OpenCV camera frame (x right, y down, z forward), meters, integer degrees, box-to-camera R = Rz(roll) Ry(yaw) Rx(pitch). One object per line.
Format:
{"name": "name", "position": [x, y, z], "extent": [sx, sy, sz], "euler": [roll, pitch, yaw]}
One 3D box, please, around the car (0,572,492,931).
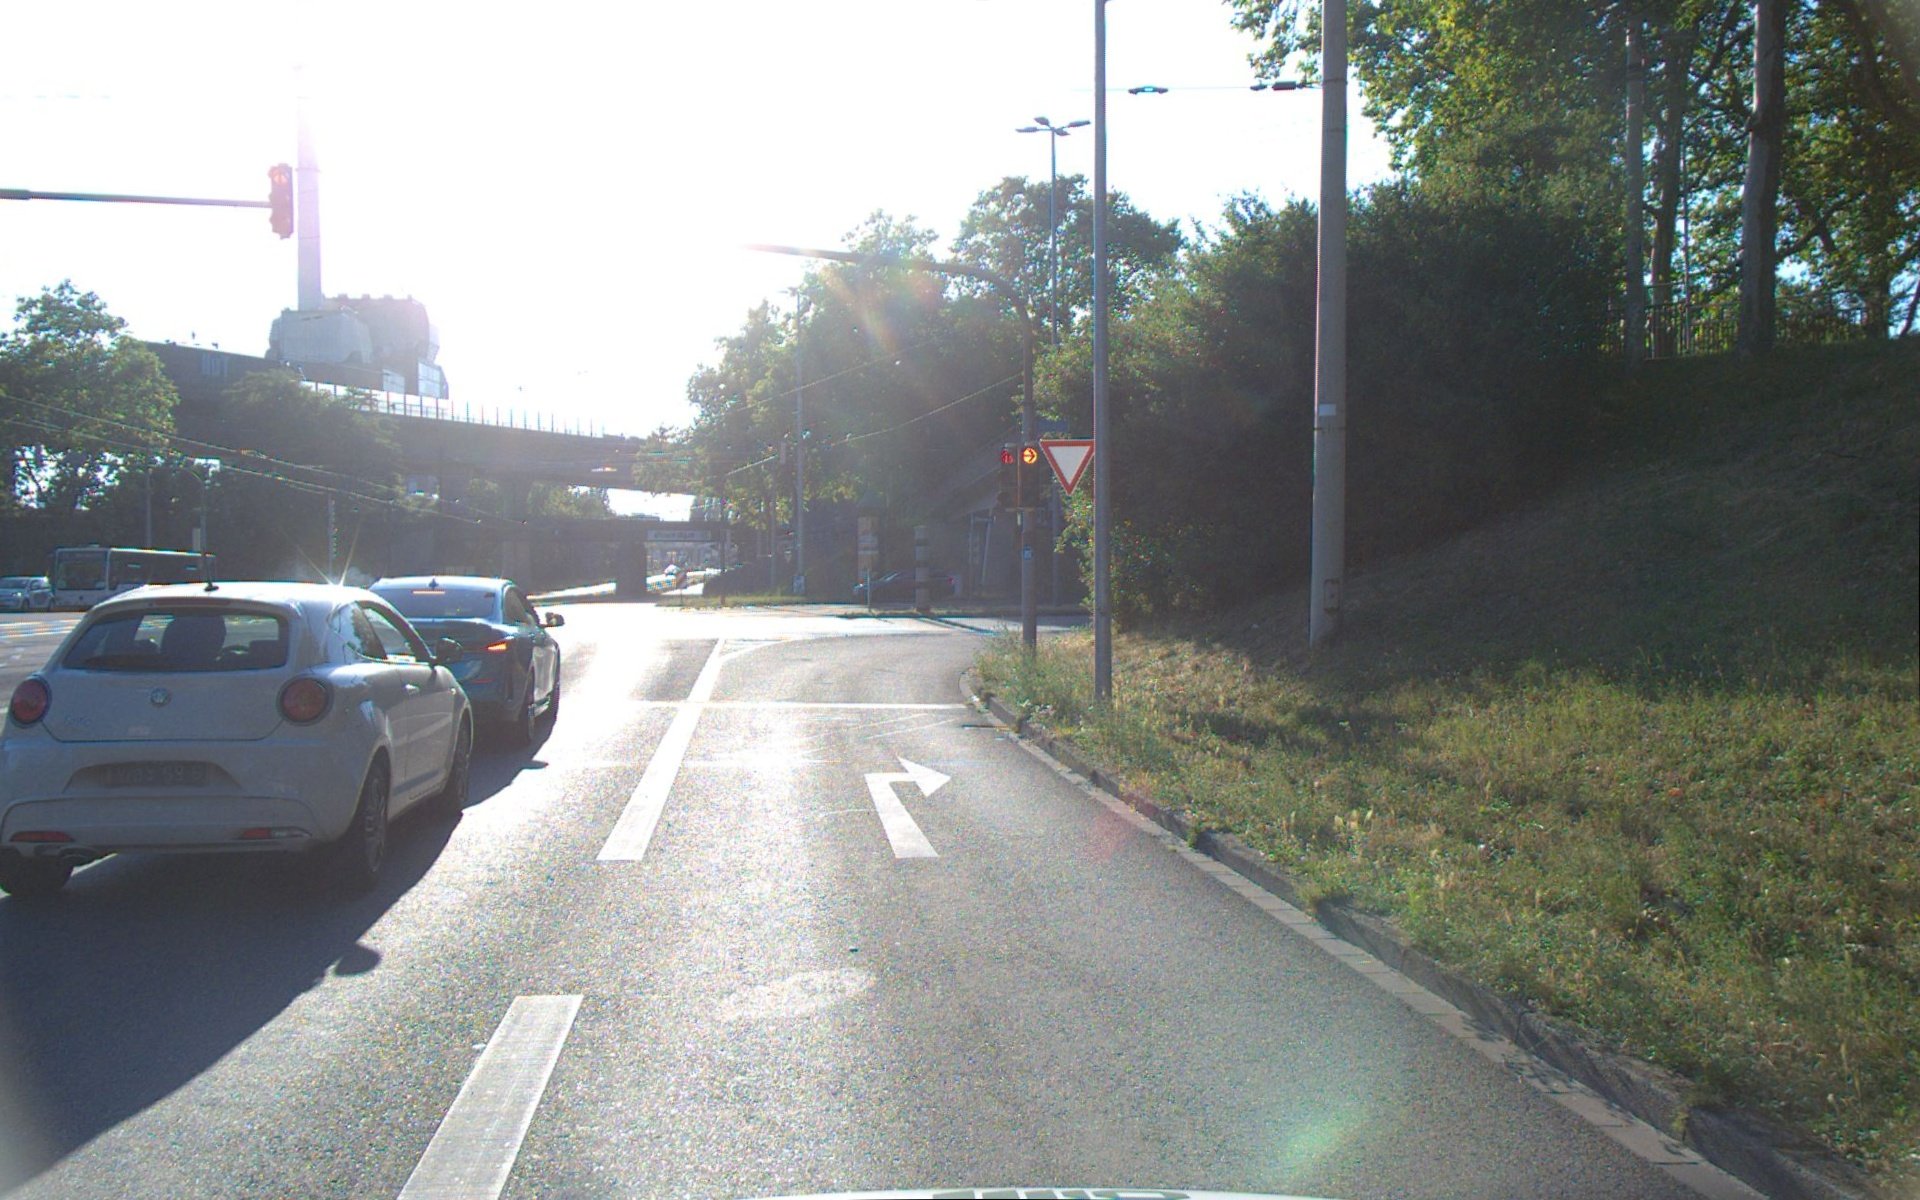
{"name": "car", "position": [-3.785, 0.621, 9.230], "extent": [1.704, 1.531, 3.993], "euler": [-1, 1, -8]}

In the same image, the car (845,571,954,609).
{"name": "car", "position": [-2.640, -0.434, 72.290], "extent": [4.515, 1.602, 1.681], "euler": [0, 1, -24]}

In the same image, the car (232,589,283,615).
{"name": "car", "position": [-41.241, 0.096, 97.108], "extent": [1.575, 1.443, 4.004], "euler": [0, 1, -5]}

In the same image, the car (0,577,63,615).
{"name": "car", "position": [-38.986, -0.184, 68.874], "extent": [1.577, 1.538, 4.000], "euler": [0, 1, -8]}

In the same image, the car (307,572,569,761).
{"name": "car", "position": [-4.708, 0.499, 15.478], "extent": [1.682, 1.491, 4.199], "euler": [-1, 1, -9]}

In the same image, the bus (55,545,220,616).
{"name": "bus", "position": [-39.987, -0.815, 81.089], "extent": [2.493, 3.185, 12.906], "euler": [-1, 0, -4]}
